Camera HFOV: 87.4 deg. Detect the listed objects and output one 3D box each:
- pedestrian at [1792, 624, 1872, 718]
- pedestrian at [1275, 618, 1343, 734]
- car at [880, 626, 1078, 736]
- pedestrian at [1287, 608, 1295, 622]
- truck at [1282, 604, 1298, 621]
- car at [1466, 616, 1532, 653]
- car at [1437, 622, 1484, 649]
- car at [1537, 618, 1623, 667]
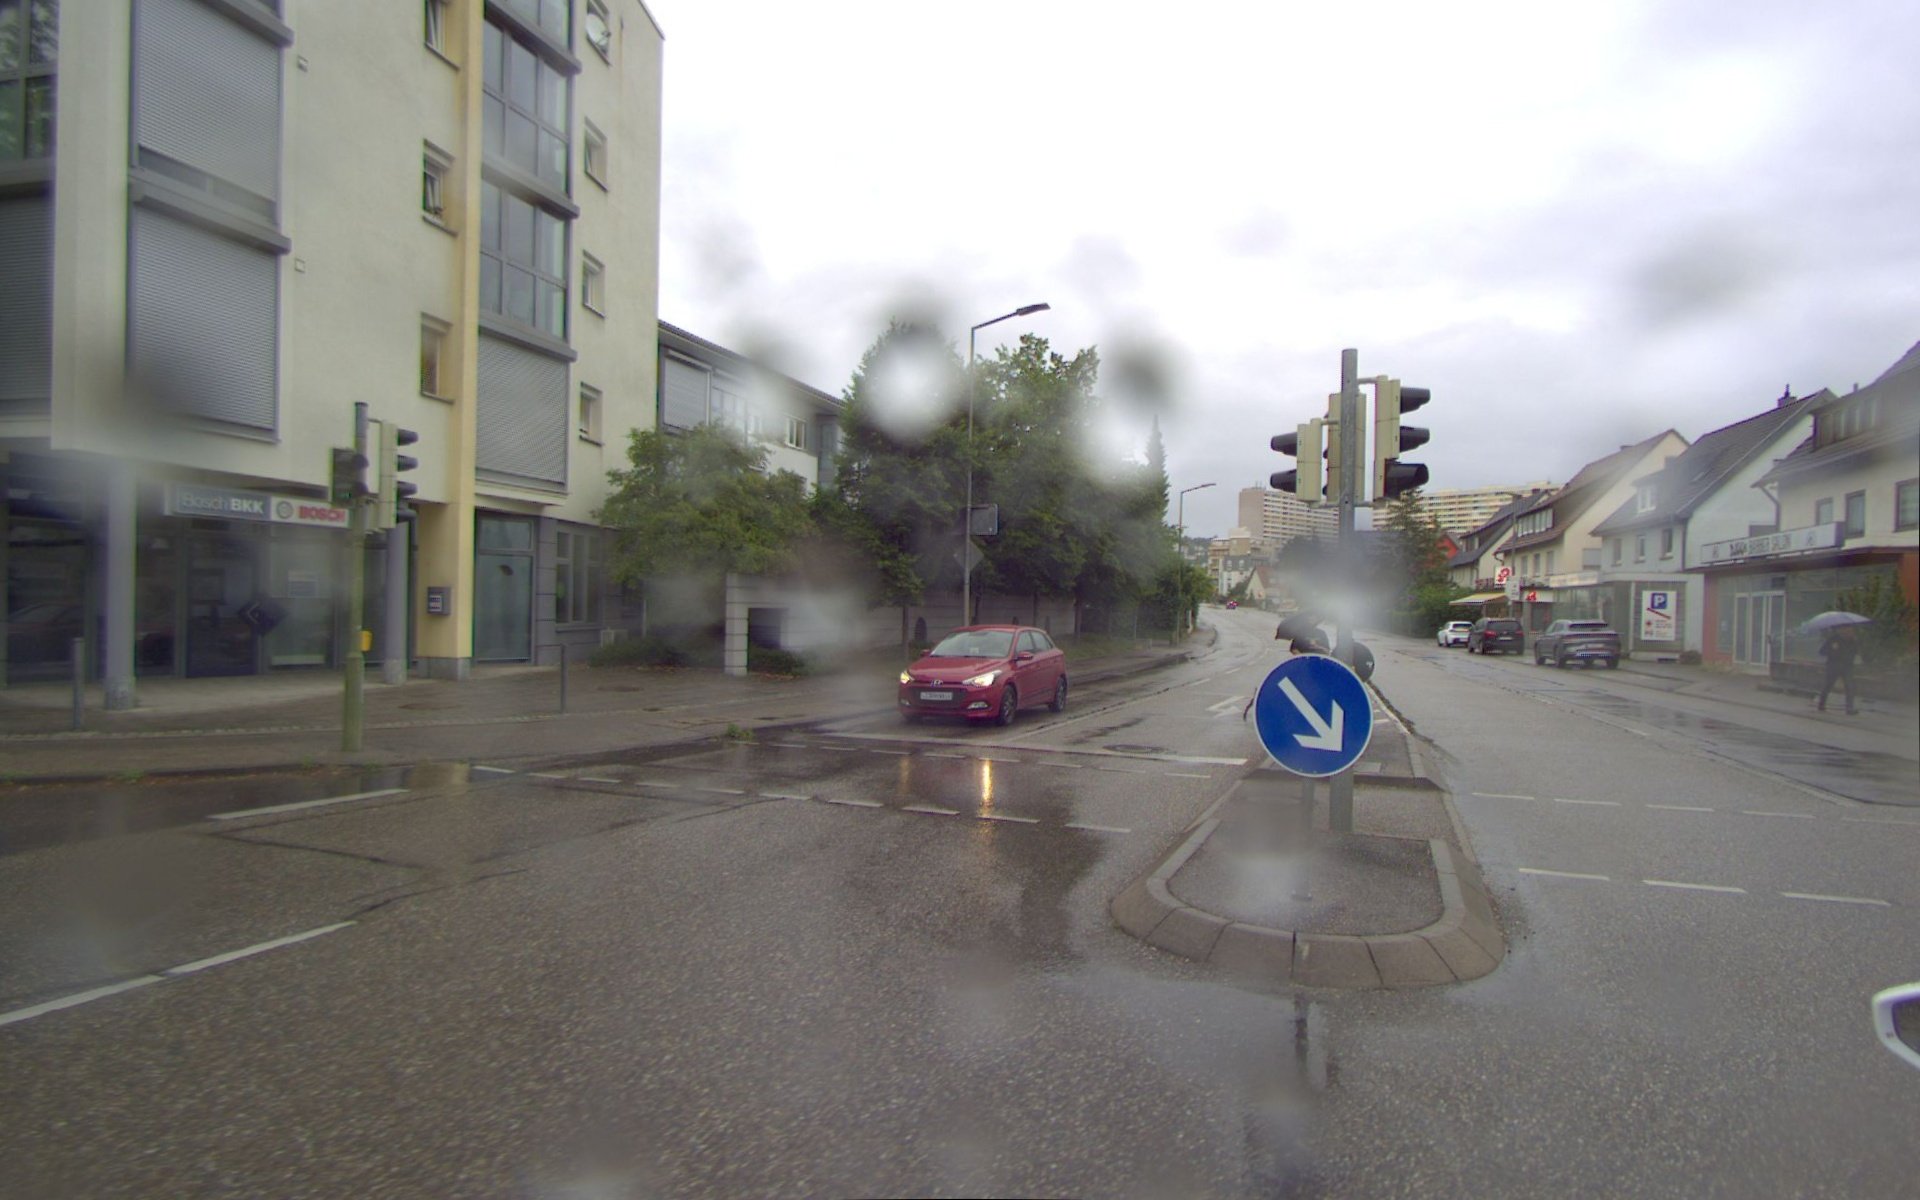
[{"bbox_3d":[15.709,1.263,18.123,0.740,1.589,0.993,3,-1,22],"label":"pedestrian"},{"bbox_3d":[5.467,1.170,15.716,0.658,1.725,0.942,2,-1,41],"label":"pedestrian"},{"bbox_3d":[0.452,1.210,16.159,1.747,1.526,4.102,-2,-2,23],"label":"car"},{"bbox_3d":[44.044,2.020,133.735,0.810,1.821,0.799,1,0,-6],"label":"pedestrian"},{"bbox_3d":[45.211,1.663,137.720,1.960,2.334,4.001,1,0,16],"label":"truck"},{"bbox_3d":[26.211,1.676,49.043,2.002,1.717,4.964,-1,-2,19],"label":"car"},{"bbox_3d":[29.064,2.035,58.457,1.785,1.467,4.204,-1,-1,17],"label":"car"},{"bbox_3d":[22.504,1.541,36.634,1.845,1.664,4.791,-1,-2,22],"label":"car"}]
